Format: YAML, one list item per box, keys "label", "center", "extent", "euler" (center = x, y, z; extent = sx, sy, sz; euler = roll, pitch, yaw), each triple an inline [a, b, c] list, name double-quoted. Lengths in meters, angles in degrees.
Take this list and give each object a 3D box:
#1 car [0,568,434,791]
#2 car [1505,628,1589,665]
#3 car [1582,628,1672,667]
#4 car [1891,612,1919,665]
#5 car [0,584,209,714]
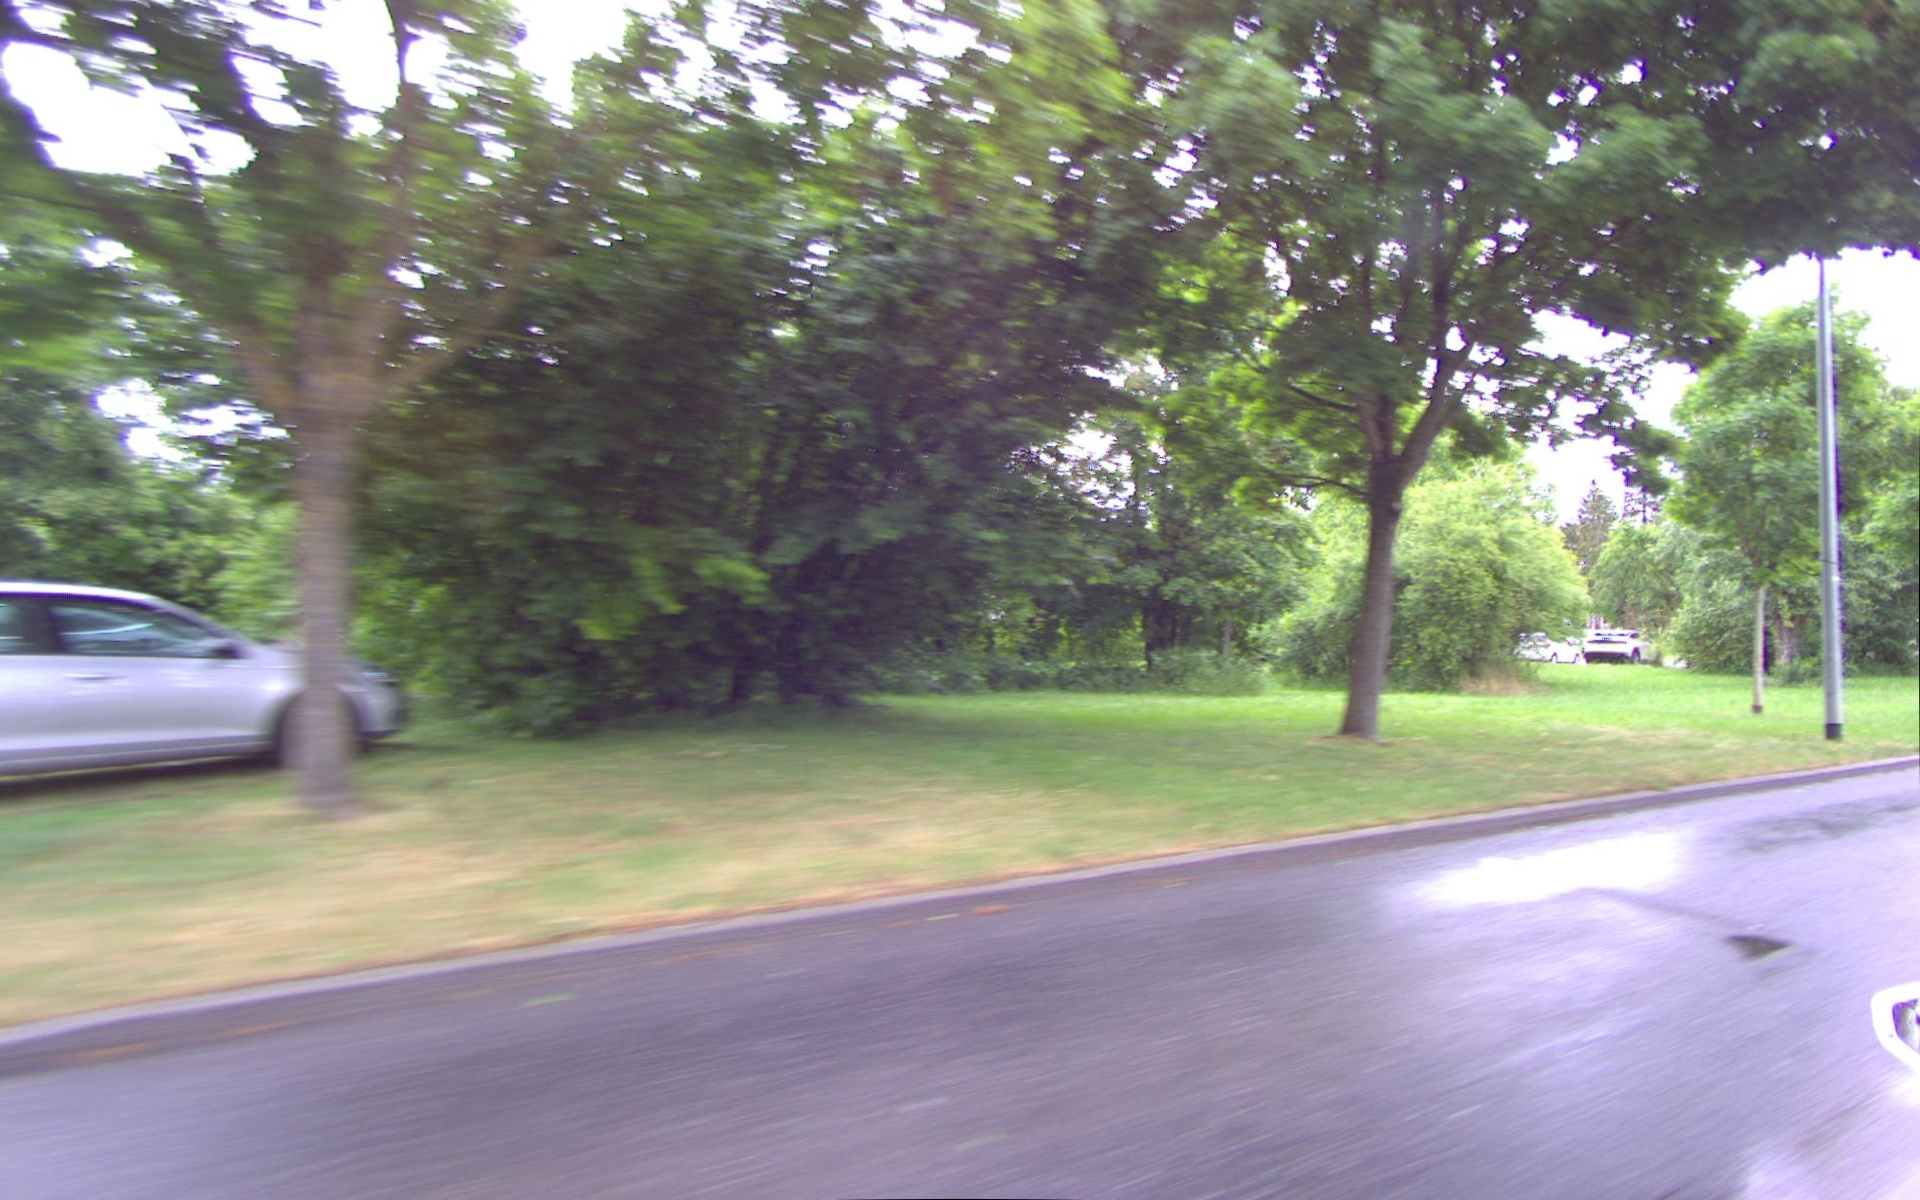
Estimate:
- label: "car"
  center: [-6.560, 0.519, 7.594]
  extent: [1.860, 1.449, 4.193]
  euler: [-1, 1, 42]
- label: "car"
  center: [27.112, 2.125, 46.357]
  extent: [4.312, 1.602, 1.839]
  euler: [2, -2, -37]
- label: "car"
  center: [28.880, 2.069, 43.435]
  extent: [4.960, 1.557, 1.776]
  euler: [3, -2, -38]
- label: "car"
  center: [42.141, 1.604, 43.517]
  extent: [5.432, 2.012, 2.109]
  euler: [-3, 0, -42]
- label: "car"
  center: [-12.250, 0.601, 12.261]
  extent: [1.838, 1.529, 4.589]
  euler: [-1, 1, 36]
